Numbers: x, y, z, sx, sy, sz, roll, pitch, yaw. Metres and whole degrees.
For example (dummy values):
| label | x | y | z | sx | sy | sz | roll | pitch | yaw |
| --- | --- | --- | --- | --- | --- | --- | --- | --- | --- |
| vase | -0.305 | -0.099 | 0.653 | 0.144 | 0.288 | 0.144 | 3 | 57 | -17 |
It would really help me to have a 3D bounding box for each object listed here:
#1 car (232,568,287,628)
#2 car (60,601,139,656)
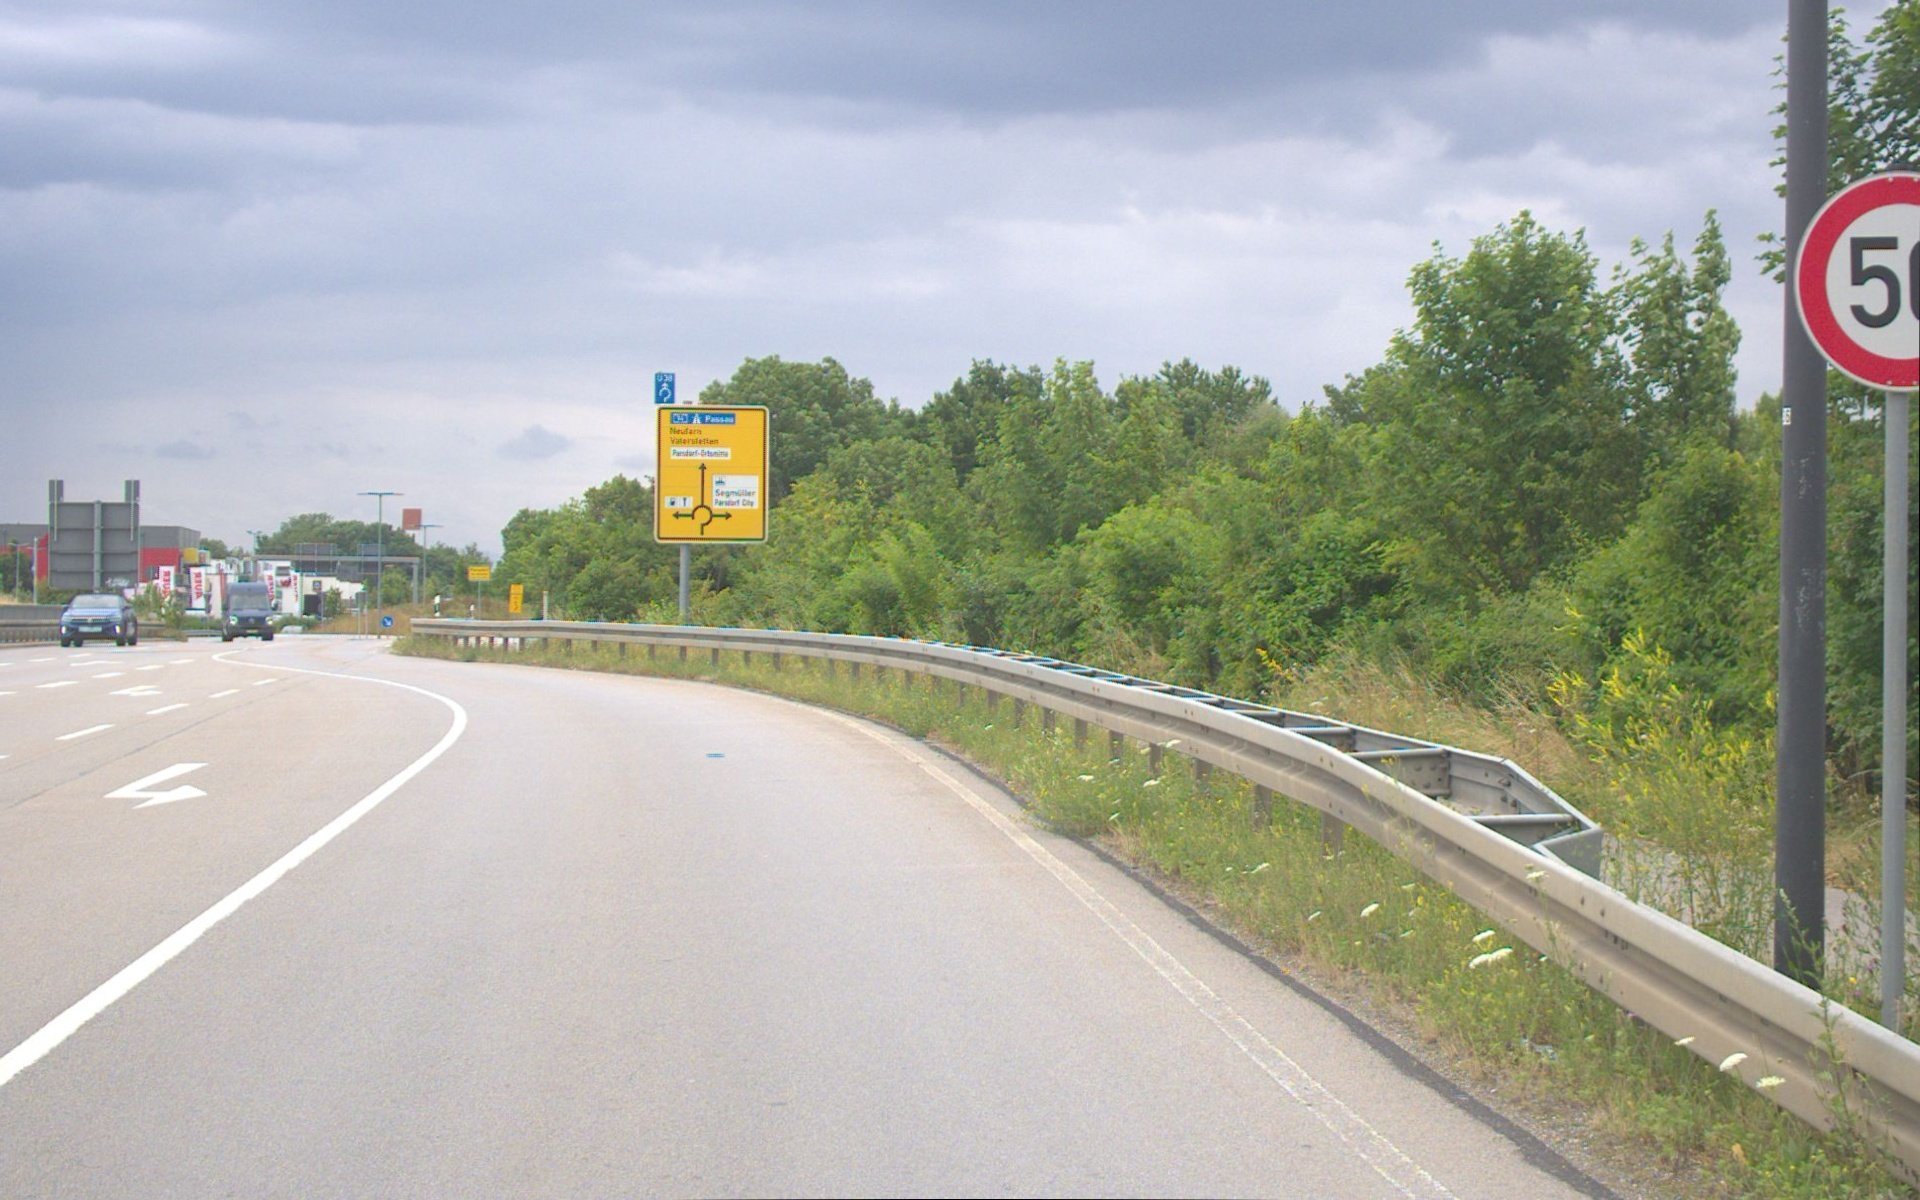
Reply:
| label | x | y | z | sx | sy | sz | roll | pitch | yaw |
| --- | --- | --- | --- | --- | --- | --- | --- | --- | --- |
| car | -30.500 | -0.079 | 149.752 | 1.993 | 2.583 | 6.005 | 0 | 0 | -8 |
| car | -24.682 | 0.795 | 98.739 | 1.797 | 1.545 | 4.001 | 0 | 0 | -8 |
